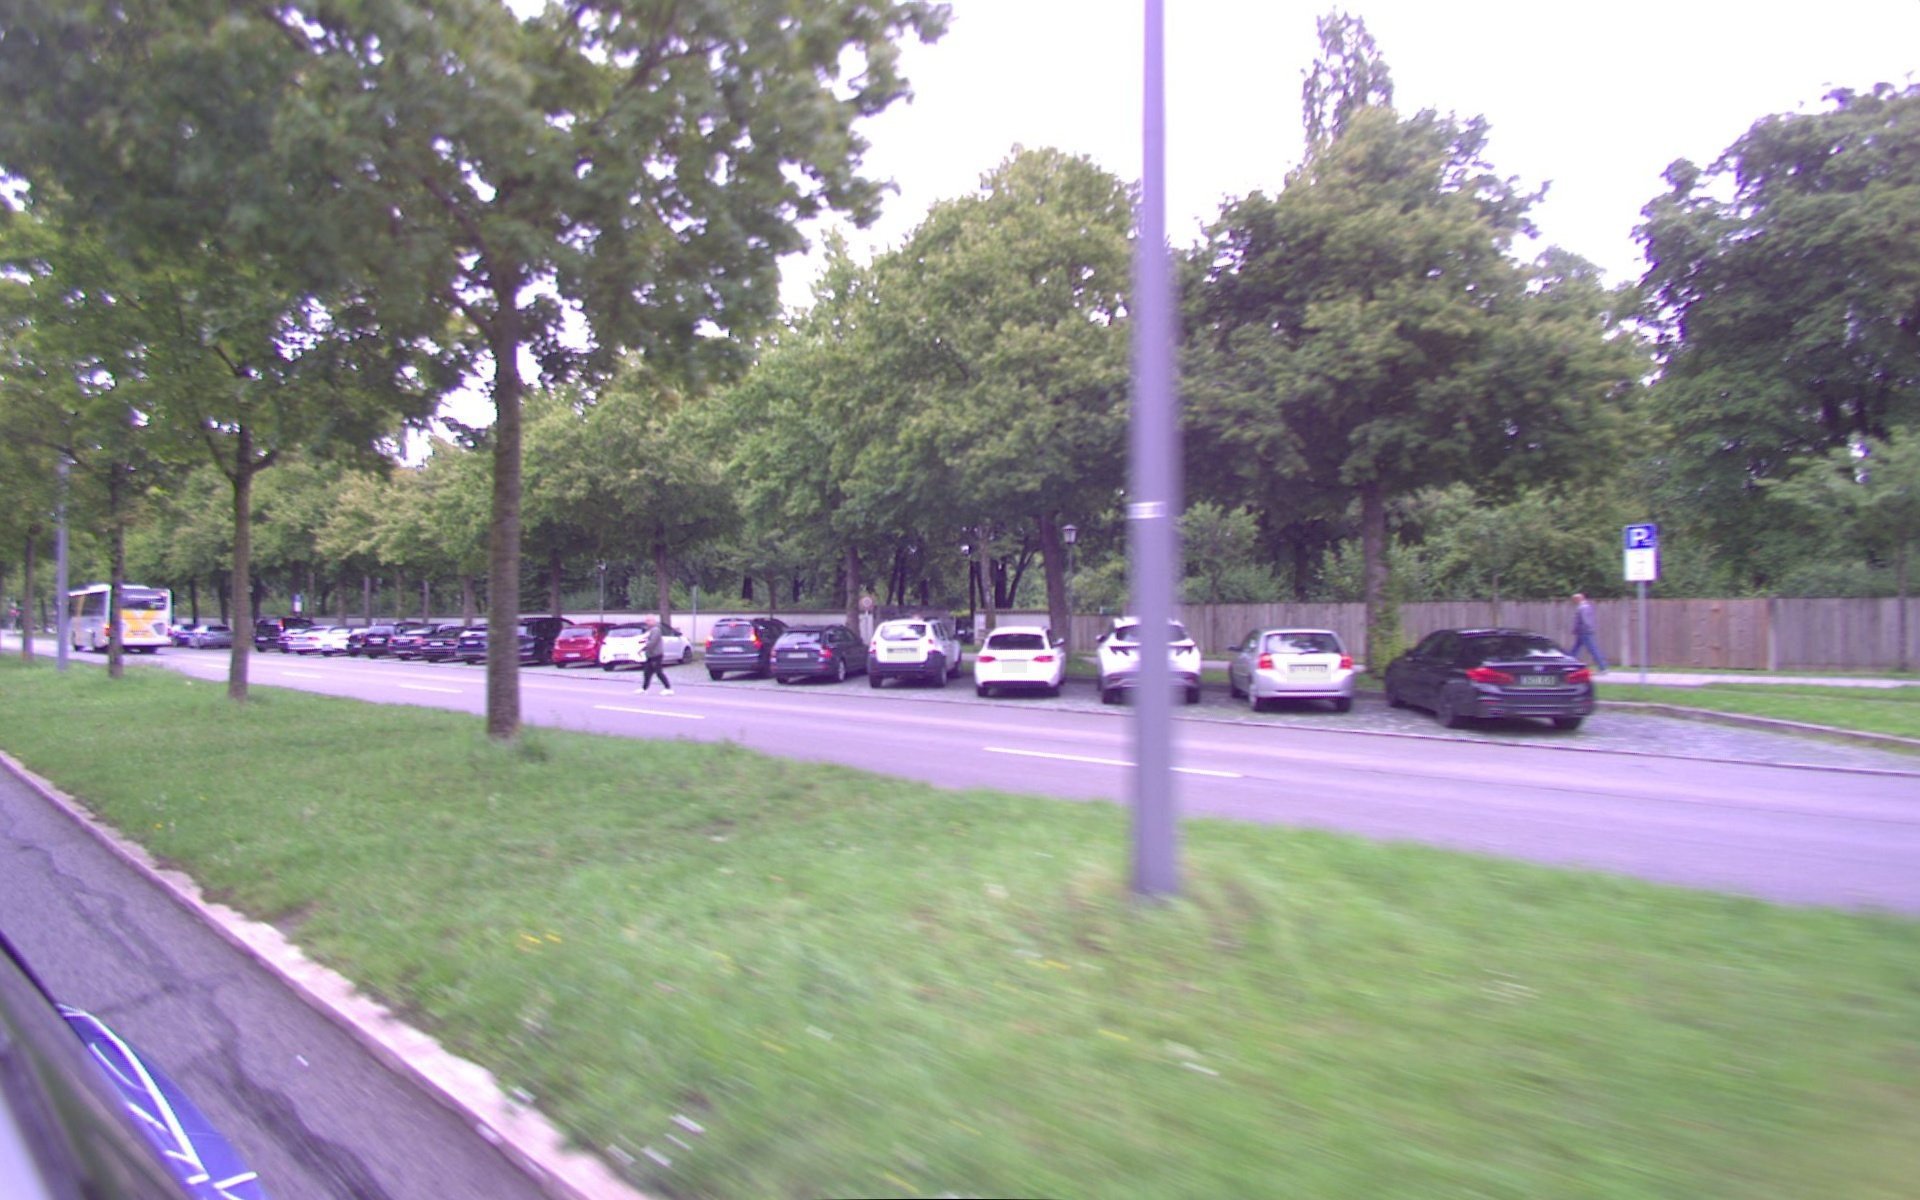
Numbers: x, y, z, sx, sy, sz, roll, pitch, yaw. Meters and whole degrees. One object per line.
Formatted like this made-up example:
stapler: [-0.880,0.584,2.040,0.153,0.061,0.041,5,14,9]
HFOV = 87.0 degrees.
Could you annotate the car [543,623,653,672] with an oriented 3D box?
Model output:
car: [-12.523,1.607,35.280,1.723,1.466,3.983,-2,0,13]

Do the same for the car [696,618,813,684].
car: [-5.757,1.396,28.823,1.783,1.599,3.985,-2,0,12]

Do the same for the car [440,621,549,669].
car: [-17.650,1.656,38.559,1.870,1.569,3.989,-2,0,9]

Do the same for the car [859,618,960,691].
car: [-1.151,1.271,25.023,1.780,1.585,4.315,-1,0,7]

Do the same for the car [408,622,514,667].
car: [-19.982,1.745,40.727,1.870,1.569,3.989,-2,0,9]

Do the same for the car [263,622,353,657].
car: [-34.085,2.030,53.061,1.869,1.654,3.992,-1,0,7]

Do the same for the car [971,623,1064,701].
car: [1.364,1.281,22.224,1.780,1.449,4.315,-1,0,7]

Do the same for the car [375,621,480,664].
car: [-22.289,1.751,42.535,1.870,1.569,3.989,-2,0,9]

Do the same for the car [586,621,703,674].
car: [-10.274,1.503,33.225,1.873,1.474,3.983,-2,0,13]

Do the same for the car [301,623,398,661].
car: [-29.112,1.967,48.413,1.870,1.569,3.989,-2,0,9]

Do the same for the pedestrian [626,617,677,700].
pedestrian: [-6.531,1.215,21.398,0.859,1.711,0.773,2,-1,-29]

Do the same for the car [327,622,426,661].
car: [-27.041,1.878,47.041,1.870,1.569,3.989,-2,0,9]

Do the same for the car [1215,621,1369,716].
car: [5.961,1.171,18.660,1.779,1.477,3.994,-1,0,5]

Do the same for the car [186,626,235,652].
car: [-45.580,2.362,61.520,1.864,1.454,4.171,0,0,-45]

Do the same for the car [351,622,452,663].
car: [-24.741,1.850,45.007,1.870,1.569,3.989,-2,0,9]

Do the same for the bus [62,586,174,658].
bus: [-43.337,1.120,51.897,11.923,3.323,2.641,-1,-3,42]

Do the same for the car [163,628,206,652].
car: [-50.230,2.563,65.542,1.717,1.381,4.171,0,0,-45]

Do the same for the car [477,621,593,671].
car: [-15.285,1.625,36.652,1.873,1.569,3.983,-2,0,13]

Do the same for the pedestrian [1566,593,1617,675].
pedestrian: [14.015,0.756,22.459,0.873,1.781,0.761,-1,-2,37]

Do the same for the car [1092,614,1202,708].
car: [3.646,1.141,20.317,1.779,1.635,3.994,-1,0,5]

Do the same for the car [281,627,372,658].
car: [-31.571,2.097,50.546,1.575,1.376,3.987,-1,0,10]

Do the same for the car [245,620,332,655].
car: [-36.444,2.020,55.033,1.760,1.741,3.992,-1,0,7]

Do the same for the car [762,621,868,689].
car: [-3.705,1.392,26.603,1.780,1.497,3.992,-2,0,6]

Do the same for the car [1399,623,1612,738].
car: [8.269,1.138,15.763,1.782,1.445,3.986,-1,0,11]
